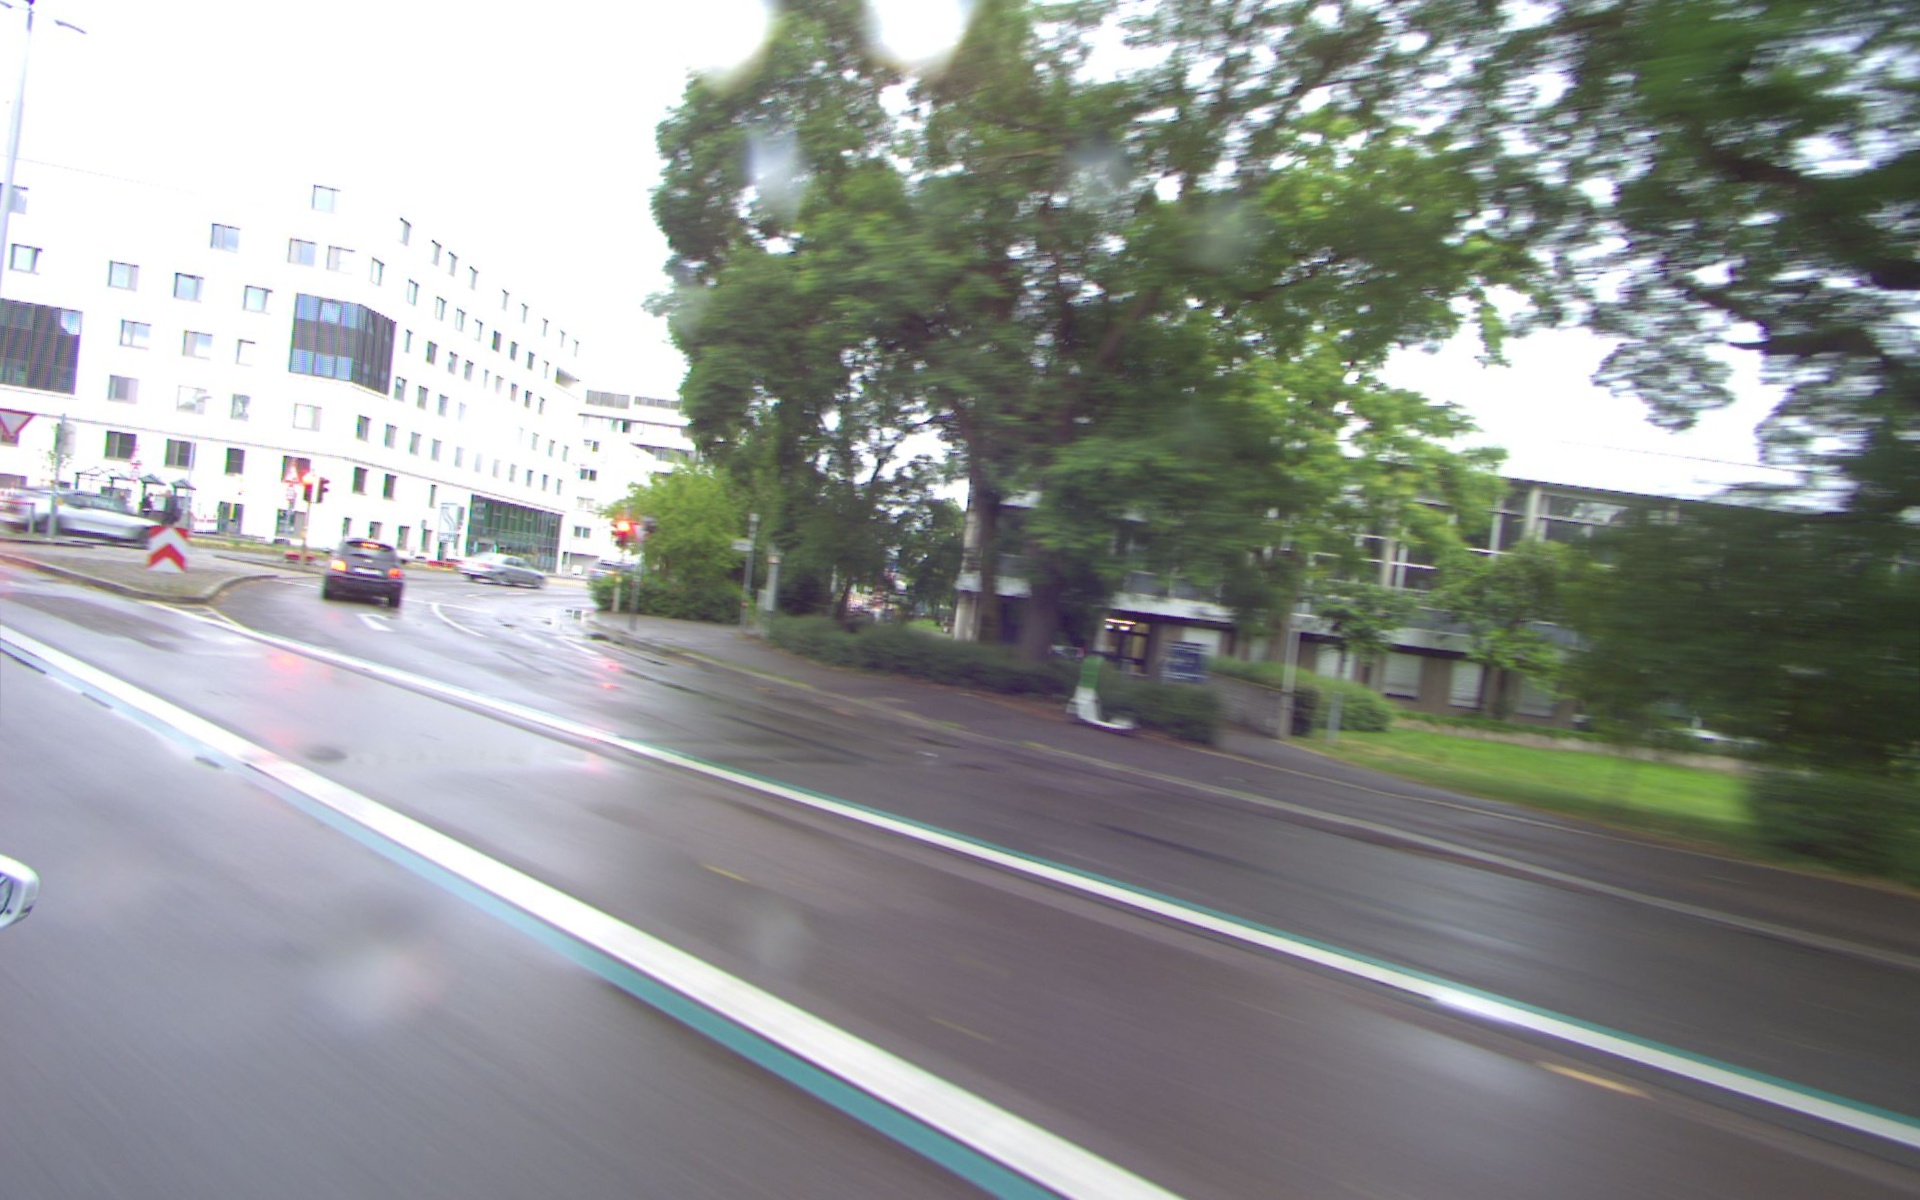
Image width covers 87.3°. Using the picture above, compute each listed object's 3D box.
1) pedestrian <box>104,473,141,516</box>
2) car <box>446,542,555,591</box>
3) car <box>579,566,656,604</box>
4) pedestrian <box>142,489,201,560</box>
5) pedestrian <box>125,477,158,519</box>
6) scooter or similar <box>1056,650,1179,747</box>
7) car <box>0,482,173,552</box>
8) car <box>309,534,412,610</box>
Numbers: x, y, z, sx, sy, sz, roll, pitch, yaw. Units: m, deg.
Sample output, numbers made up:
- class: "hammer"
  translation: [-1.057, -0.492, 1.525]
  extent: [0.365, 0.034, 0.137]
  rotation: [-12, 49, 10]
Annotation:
- class: "pedestrian"
  translation: [-41.024, -5.161, 49.282]
  extent: [0.809, 1.861, 0.954]
  rotation: [7, -1, 23]
- class: "car"
  translation: [-21.708, -1.541, 47.794]
  extent: [1.833, 1.669, 4.782]
  rotation: [7, -2, 18]
- class: "car"
  translation: [-20.936, -0.887, 61.761]
  extent: [1.833, 1.669, 4.782]
  rotation: [7, -2, 18]
- class: "pedestrian"
  translation: [-23.396, -2.227, 29.839]
  extent: [1.009, 1.914, 0.830]
  rotation: [7, -1, 25]
- class: "pedestrian"
  translation: [-42.052, -5.249, 51.693]
  extent: [0.941, 1.958, 1.000]
  rotation: [6, -1, 43]
- class: "scooter or similar"
  translation: [2.278, 1.418, 14.813]
  extent: [0.552, 1.116, 1.872]
  rotation: [4, 3, -35]
- class: "car"
  translation: [-27.318, -2.542, 31.279]
  extent: [1.833, 1.437, 4.003]
  rotation: [7, -2, 21]
- class: "car"
  translation: [-14.537, -0.683, 24.531]
  extent: [1.848, 1.466, 3.971]
  rotation: [8, -2, -29]
